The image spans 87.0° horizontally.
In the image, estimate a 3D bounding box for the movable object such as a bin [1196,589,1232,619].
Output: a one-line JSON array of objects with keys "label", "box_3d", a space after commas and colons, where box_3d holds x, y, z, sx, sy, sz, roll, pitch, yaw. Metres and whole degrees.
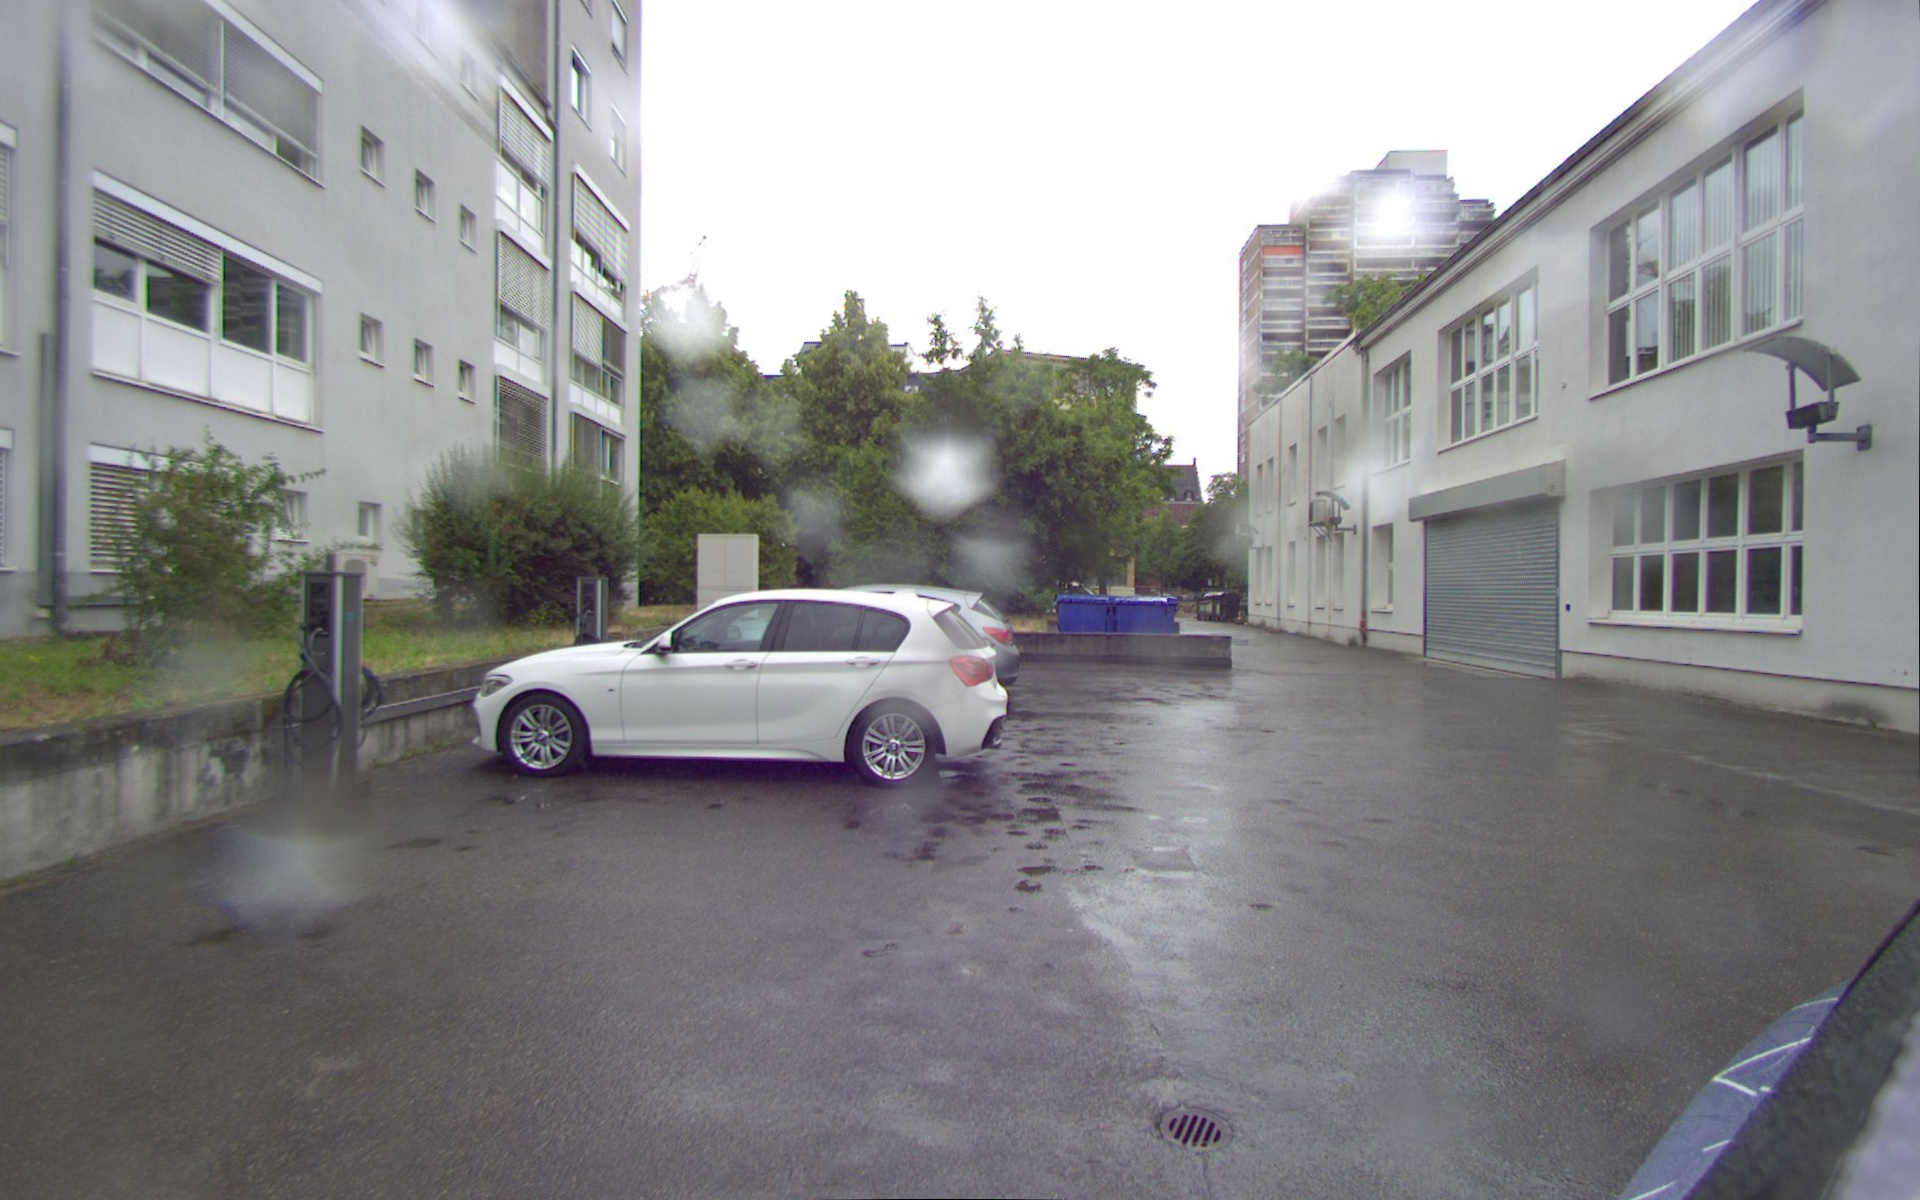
[{"label": "movable object such as a bin", "box_3d": [12.825, 0.193, 51.222, 1.464, 1.467, 1.313, -1, -2, 0]}]

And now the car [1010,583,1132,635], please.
[{"label": "car", "box_3d": [4.373, 0.390, 39.832, 4.618, 1.906, 2.118, -1, -3, 8]}]

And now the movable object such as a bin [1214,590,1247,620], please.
[{"label": "movable object such as a bin", "box_3d": [12.898, 0.226, 48.283, 1.165, 1.392, 1.313, -1, -2, 0]}]

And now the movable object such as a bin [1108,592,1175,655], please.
[{"label": "movable object such as a bin", "box_3d": [4.098, 0.538, 23.080, 1.290, 1.375, 1.902, -1, -2, 5]}]

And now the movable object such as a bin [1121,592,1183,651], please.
[{"label": "movable object such as a bin", "box_3d": [4.702, 0.533, 24.942, 1.290, 1.375, 1.902, -1, -2, 5]}]

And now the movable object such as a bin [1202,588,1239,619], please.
[{"label": "movable object such as a bin", "box_3d": [12.810, 0.192, 49.873, 1.464, 1.467, 1.313, -1, -2, 0]}]

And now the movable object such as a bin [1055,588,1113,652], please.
[{"label": "movable object such as a bin", "box_3d": [2.805, 0.462, 23.203, 1.211, 1.375, 1.967, -1, -2, 5]}]

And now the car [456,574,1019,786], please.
[{"label": "car", "box_3d": [-1.624, 0.580, 8.405, 4.143, 1.508, 1.999, 0, 0, 2]}]

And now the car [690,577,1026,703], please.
[{"label": "car", "box_3d": [-1.249, 0.489, 13.477, 4.143, 1.508, 1.999, 0, 0, 2]}]
